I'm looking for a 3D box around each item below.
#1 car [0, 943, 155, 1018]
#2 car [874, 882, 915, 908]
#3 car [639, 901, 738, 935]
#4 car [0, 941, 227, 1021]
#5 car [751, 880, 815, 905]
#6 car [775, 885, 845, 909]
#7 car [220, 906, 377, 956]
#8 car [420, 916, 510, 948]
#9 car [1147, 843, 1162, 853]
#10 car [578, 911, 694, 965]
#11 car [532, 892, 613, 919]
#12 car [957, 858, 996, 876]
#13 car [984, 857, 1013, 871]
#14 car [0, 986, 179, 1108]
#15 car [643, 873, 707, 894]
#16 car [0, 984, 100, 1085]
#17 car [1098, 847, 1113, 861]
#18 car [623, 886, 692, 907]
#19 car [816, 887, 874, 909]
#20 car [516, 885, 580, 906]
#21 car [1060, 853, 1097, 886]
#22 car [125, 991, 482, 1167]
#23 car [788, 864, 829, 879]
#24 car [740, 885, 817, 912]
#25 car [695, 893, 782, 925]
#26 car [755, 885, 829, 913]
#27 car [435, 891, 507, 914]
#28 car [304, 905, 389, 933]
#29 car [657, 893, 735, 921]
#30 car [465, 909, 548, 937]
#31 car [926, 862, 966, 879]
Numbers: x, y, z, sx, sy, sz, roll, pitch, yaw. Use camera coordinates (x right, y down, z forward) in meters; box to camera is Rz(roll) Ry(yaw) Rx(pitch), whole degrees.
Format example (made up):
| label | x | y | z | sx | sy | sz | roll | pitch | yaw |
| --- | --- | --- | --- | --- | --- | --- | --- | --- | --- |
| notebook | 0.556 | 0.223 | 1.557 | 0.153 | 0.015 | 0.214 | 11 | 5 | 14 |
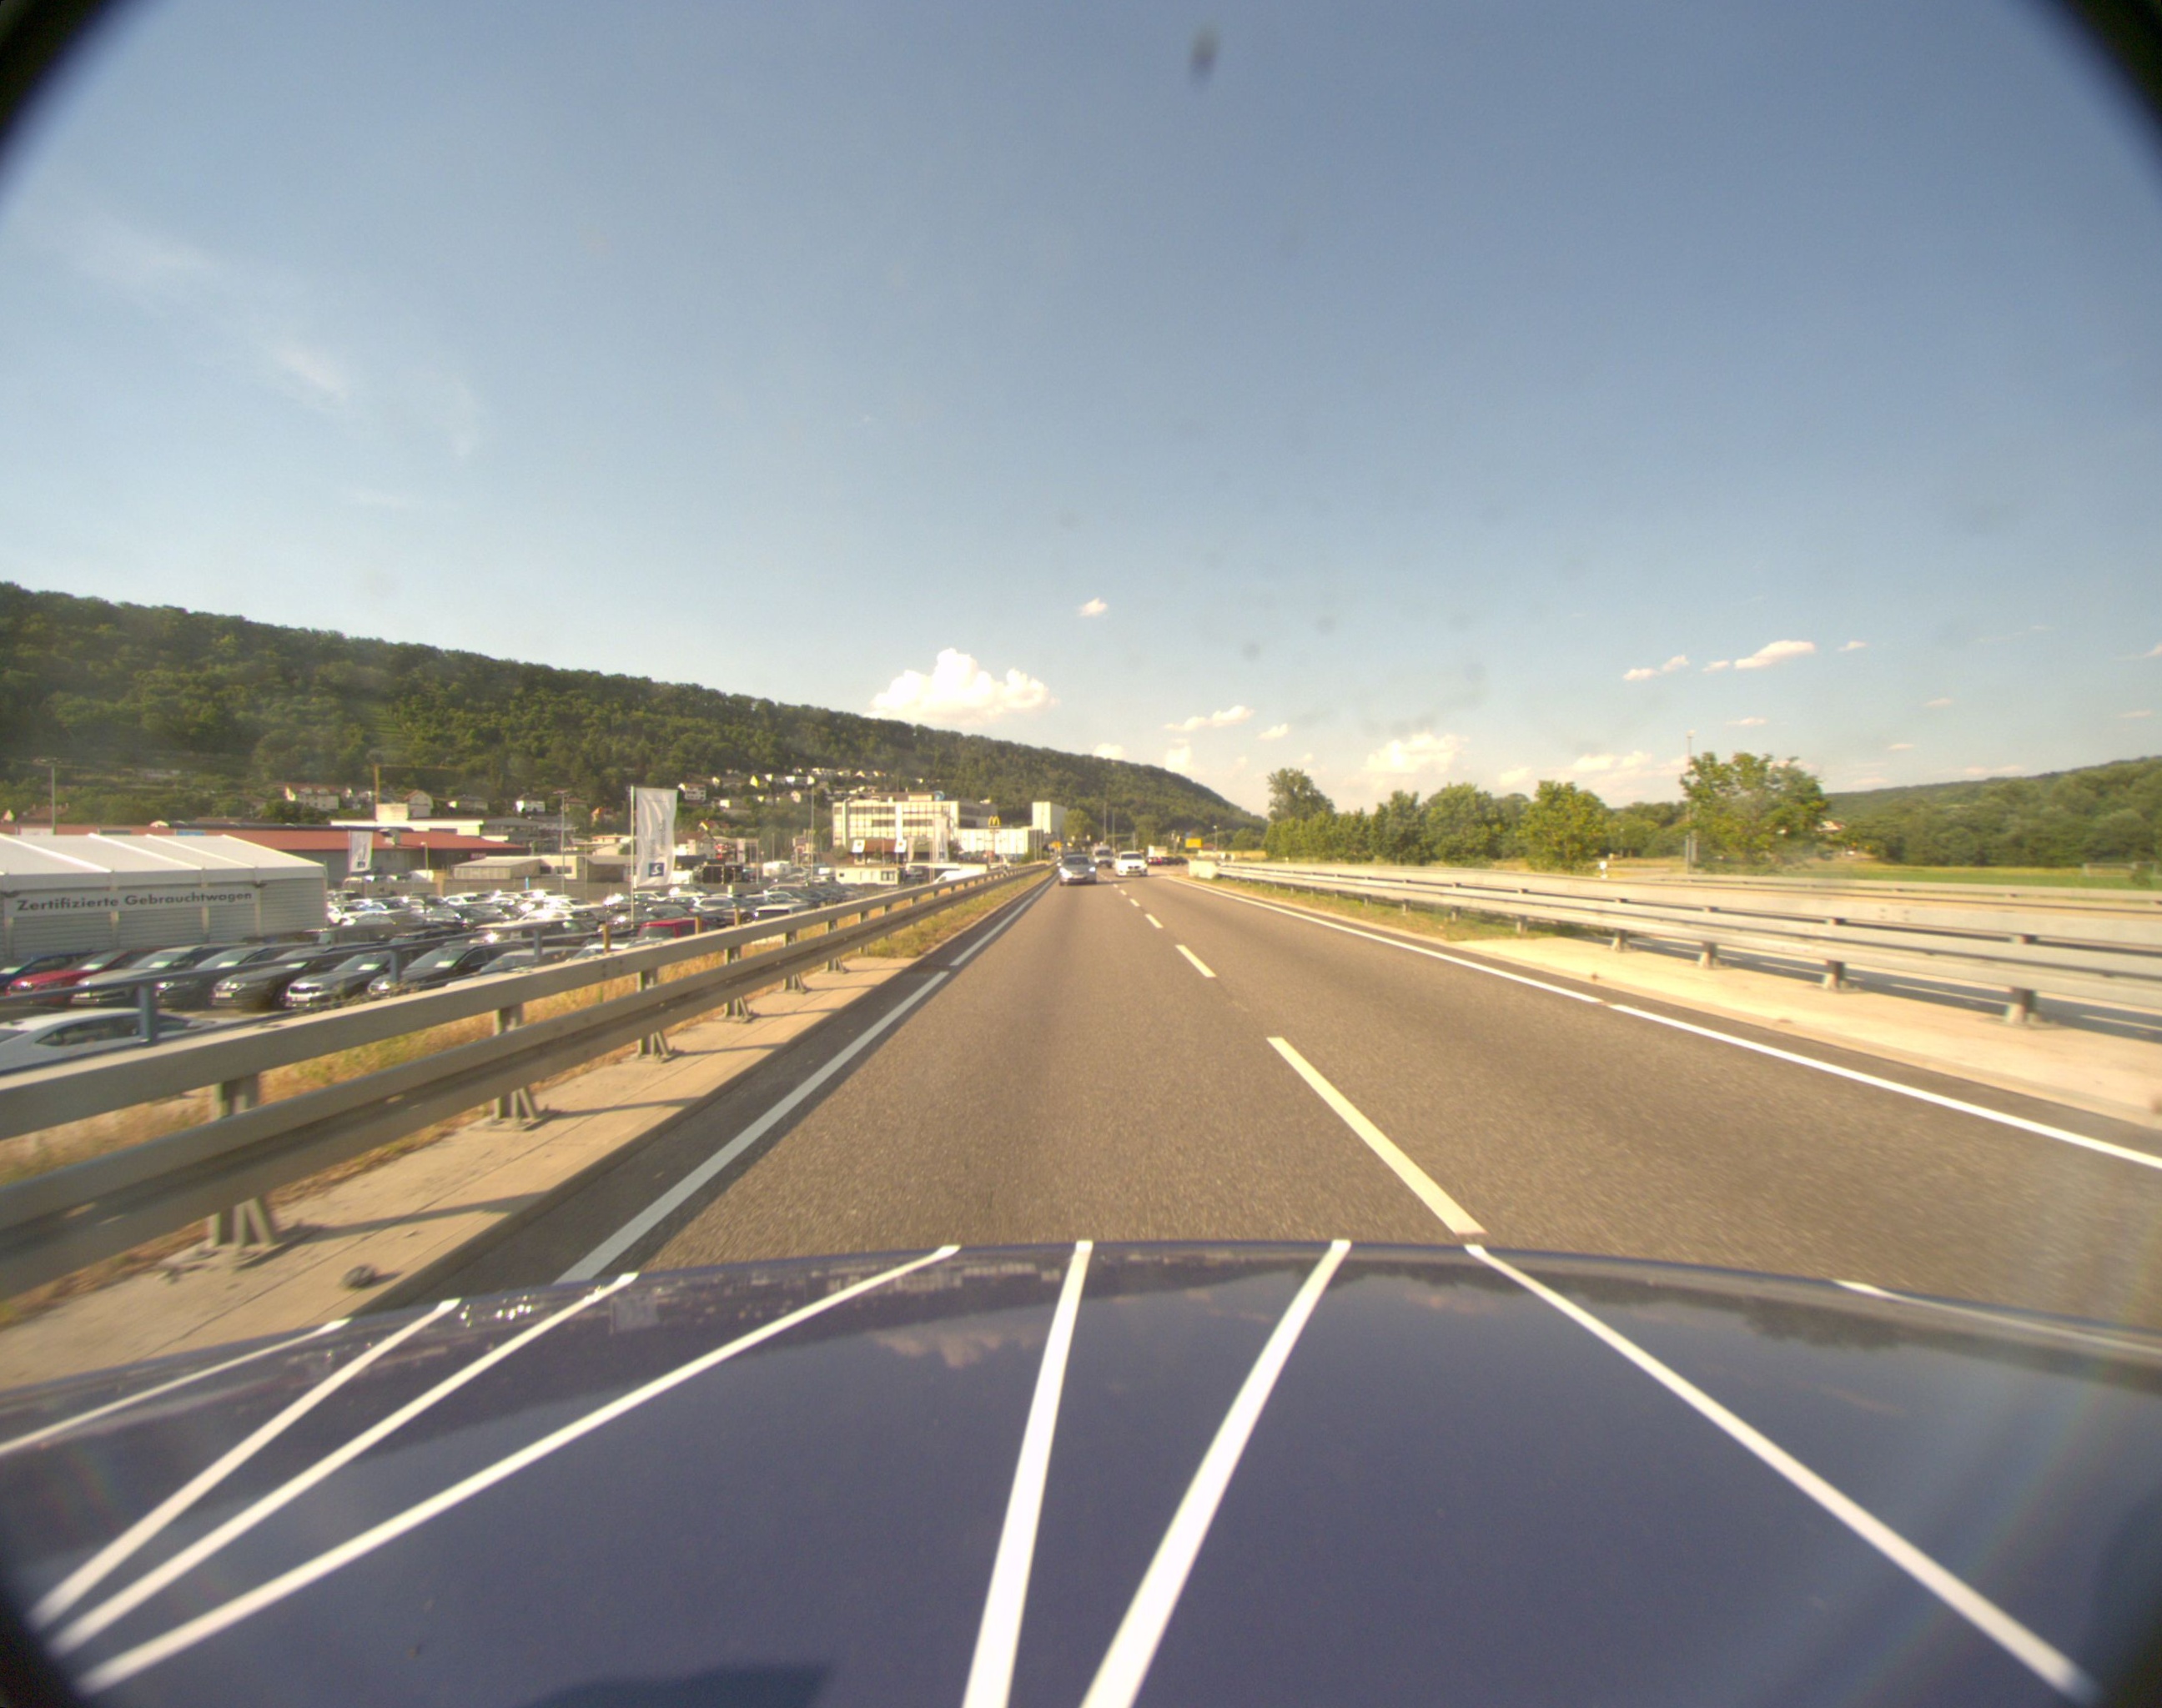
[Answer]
| label | x | y | z | sx | sy | sz | roll | pitch | yaw |
| --- | --- | --- | --- | --- | --- | --- | --- | --- | --- |
| car | -32.233 | 3.900 | 23.608 | 1.778 | 1.674 | 4.001 | 0 | 2 | 7 |
| car | -13.832 | 3.023 | 56.659 | 1.799 | 1.535 | 4.432 | -2 | 2 | 2 |
| car | -20.945 | 3.408 | 40.609 | 4.426 | 1.598 | 1.802 | -2 | 0 | 8 |
| car | -29.931 | 3.870 | 23.685 | 1.778 | 1.674 | 4.001 | -2 | 2 | 7 |
| car | -24.095 | 3.110 | 61.540 | 4.426 | 1.704 | 1.801 | -2 | 2 | 8 |
| car | -19.893 | 3.155 | 55.838 | 4.426 | 1.535 | 1.801 | -2 | 2 | 8 |
| car | -31.511 | 3.064 | 30.793 | 1.957 | 1.456 | 4.001 | -2 | 2 | 6 |
| car | -35.306 | 4.483 | 43.594 | 3.993 | 1.556 | 1.783 | -2 | 2 | 12 |
| car | 11.110 | -0.948 | 115.072 | 1.719 | 1.455 | 4.726 | 1 | 0 | 0 |
| car | -16.982 | 3.175 | 29.229 | 1.673 | 1.463 | 4.001 | -2 | 2 | 7 |
| car | -34.354 | 3.465 | 51.367 | 4.426 | 1.535 | 1.801 | -2 | 2 | 8 |
| car | -11.936 | 1.485 | 86.900 | 3.996 | 1.740 | 1.901 | -2 | 2 | 2 |
| car | -12.140 | 1.509 | 112.305 | 3.996 | 1.806 | 1.834 | -2 | 2 | 2 |
| car | -19.839 | 3.643 | 13.823 | 1.778 | 1.674 | 4.001 | -2 | 2 | 7 |
| car | -33.842 | 2.474 | 63.367 | 4.426 | 1.535 | 1.801 | -2 | 2 | 8 |
| car | -21.874 | 3.672 | 14.141 | 1.778 | 1.674 | 4.001 | -2 | 2 | 7 |
| car | 2.681 | 0.017 | 83.967 | 1.690 | 1.383 | 3.883 | -1 | 2 | 1 |
| car | -32.936 | 3.288 | 59.131 | 4.426 | 1.361 | 1.801 | -2 | 2 | 8 |
| car | -18.825 | 3.500 | 60.691 | 3.981 | 1.535 | 1.787 | -2 | 2 | 4 |
| car | -45.311 | 3.511 | 64.646 | 4.339 | 1.535 | 1.801 | -2 | 2 | 8 |
| car | -0.060 | 0.701 | 36.898 | 1.690 | 1.383 | 3.883 | -1 | 2 | 1 |
| car | -12.466 | 3.511 | 12.599 | 1.615 | 1.669 | 3.837 | -2 | 2 | 8 |
| car | -31.561 | 2.050 | 88.113 | 3.996 | 1.648 | 1.805 | 0 | 2 | 4 |
| car | -20.298 | 2.971 | 51.069 | 4.426 | 1.535 | 1.801 | -2 | 2 | 8 |
| car | -20.567 | 3.304 | 45.709 | 4.426 | 1.657 | 1.842 | -2 | 2 | 8 |
| car | -20.331 | 3.133 | 53.544 | 4.426 | 1.704 | 1.801 | -2 | 2 | 8 |
| car | -46.002 | 3.658 | 57.310 | 4.338 | 1.535 | 1.802 | -2 | 2 | 12 |
| car | -48.024 | 4.234 | 49.705 | 4.338 | 1.535 | 1.802 | -2 | 2 | 12 |
| car | -26.565 | 3.655 | 52.489 | 4.426 | 1.704 | 1.801 | -2 | 2 | 8 |
| car | -34.971 | 4.223 | 46.285 | 3.993 | 1.448 | 1.782 | -2 | 2 | 13 |
| car | -16.390 | 2.011 | 92.352 | 4.332 | 1.740 | 2.131 | -2 | 2 | 2 |
